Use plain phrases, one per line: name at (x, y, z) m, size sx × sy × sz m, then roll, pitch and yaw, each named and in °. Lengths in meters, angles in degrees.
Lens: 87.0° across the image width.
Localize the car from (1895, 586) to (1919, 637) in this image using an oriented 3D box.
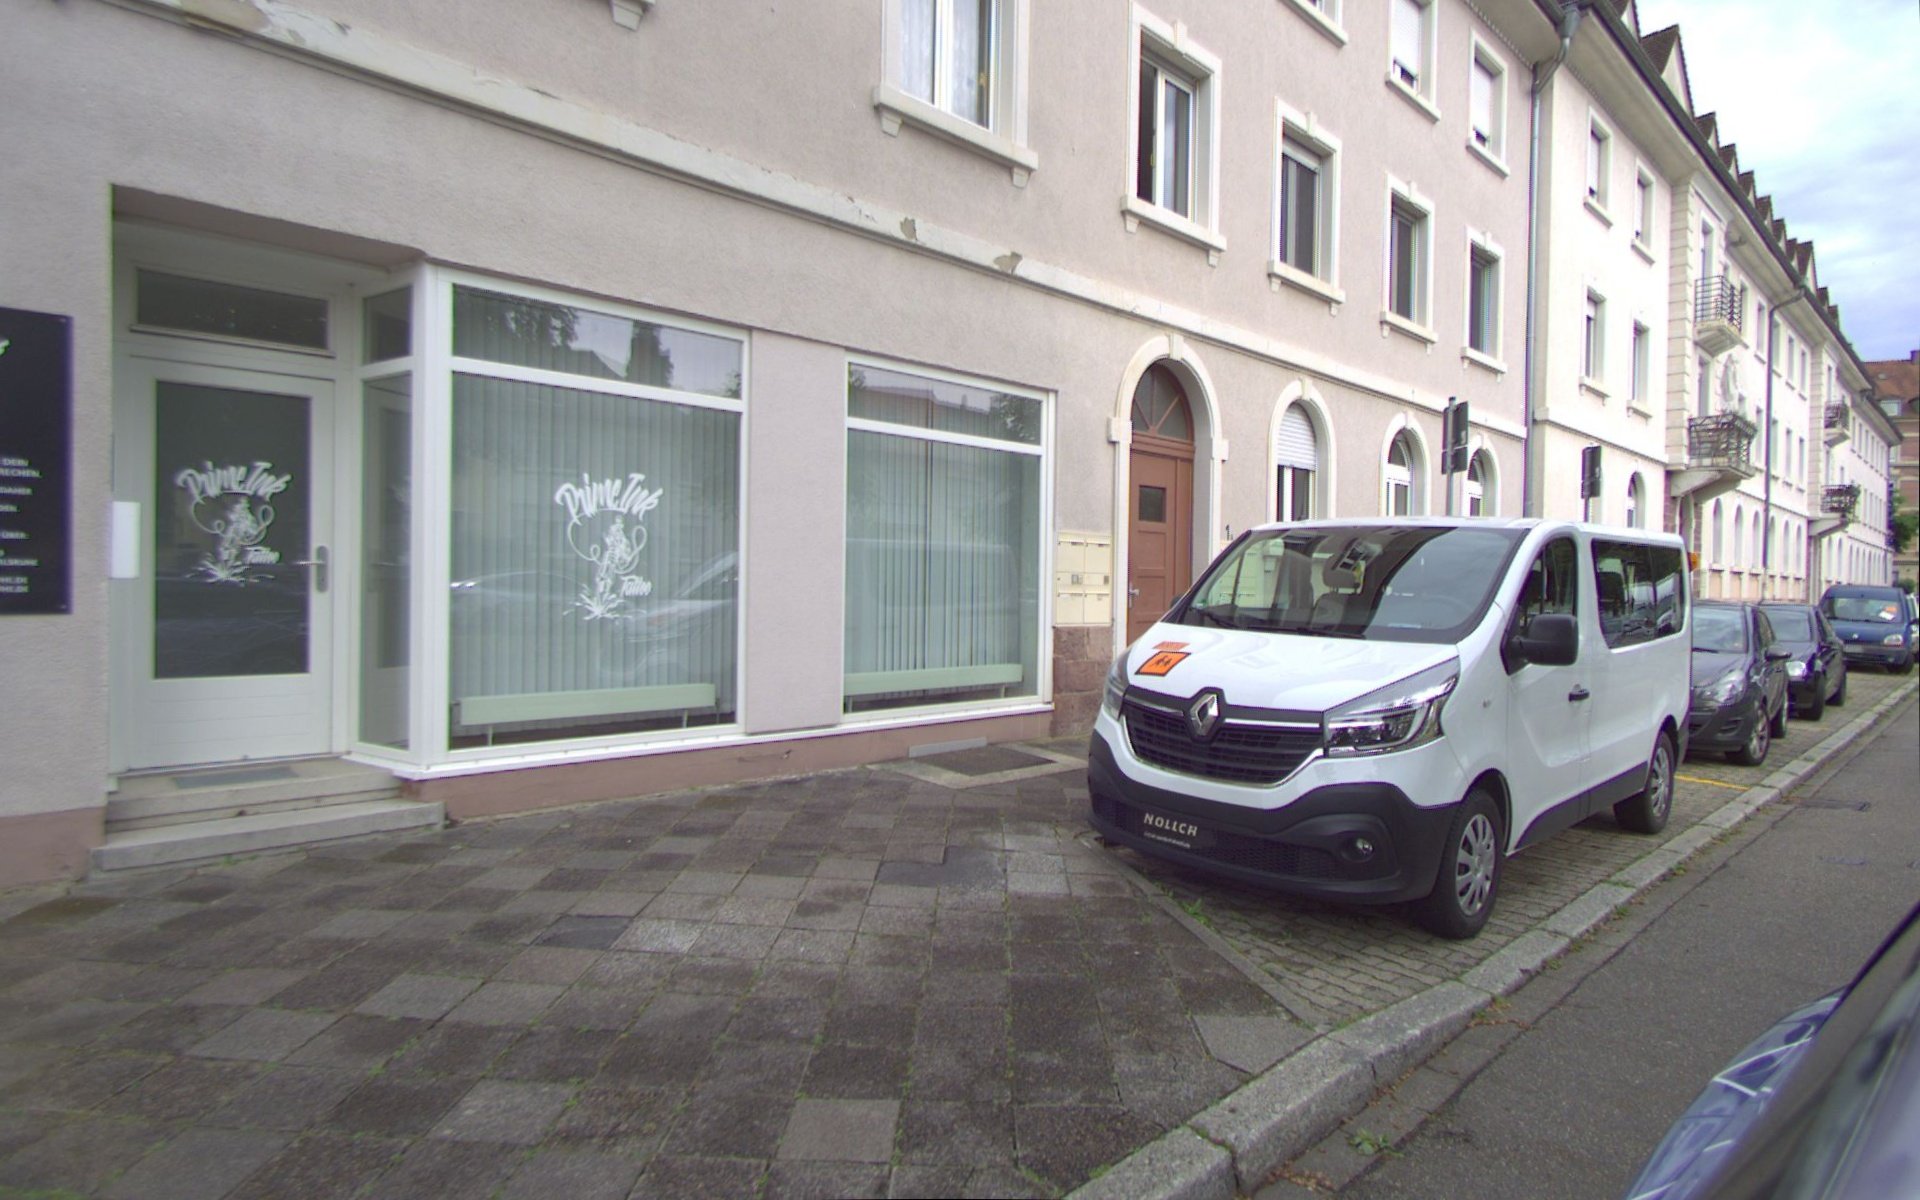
car at (31.188, 0.390, 32.225) m, size 3.887 × 1.532 × 1.685 m, roll 0°, pitch 4°, yaw -43°

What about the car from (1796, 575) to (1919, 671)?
car at (19.570, 0.432, 21.694) m, size 4.115 × 1.807 × 1.941 m, roll 0°, pitch 3°, yaw -43°

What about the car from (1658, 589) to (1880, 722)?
car at (11.267, 0.651, 13.981) m, size 4.467 × 1.471 × 1.690 m, roll 0°, pitch 3°, yaw -43°

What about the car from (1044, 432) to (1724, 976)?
car at (2.888, 0.356, 6.130) m, size 4.927 × 2.020 × 1.881 m, roll 0°, pitch 2°, yaw -43°

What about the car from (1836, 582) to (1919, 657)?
car at (23.481, 0.463, 25.374) m, size 4.058 × 1.657 × 1.774 m, roll 0°, pitch 4°, yaw -43°

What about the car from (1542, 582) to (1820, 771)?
car at (7.430, 0.618, 10.276) m, size 1.689 × 1.471 × 3.839 m, roll 5°, pitch 3°, yaw 44°
